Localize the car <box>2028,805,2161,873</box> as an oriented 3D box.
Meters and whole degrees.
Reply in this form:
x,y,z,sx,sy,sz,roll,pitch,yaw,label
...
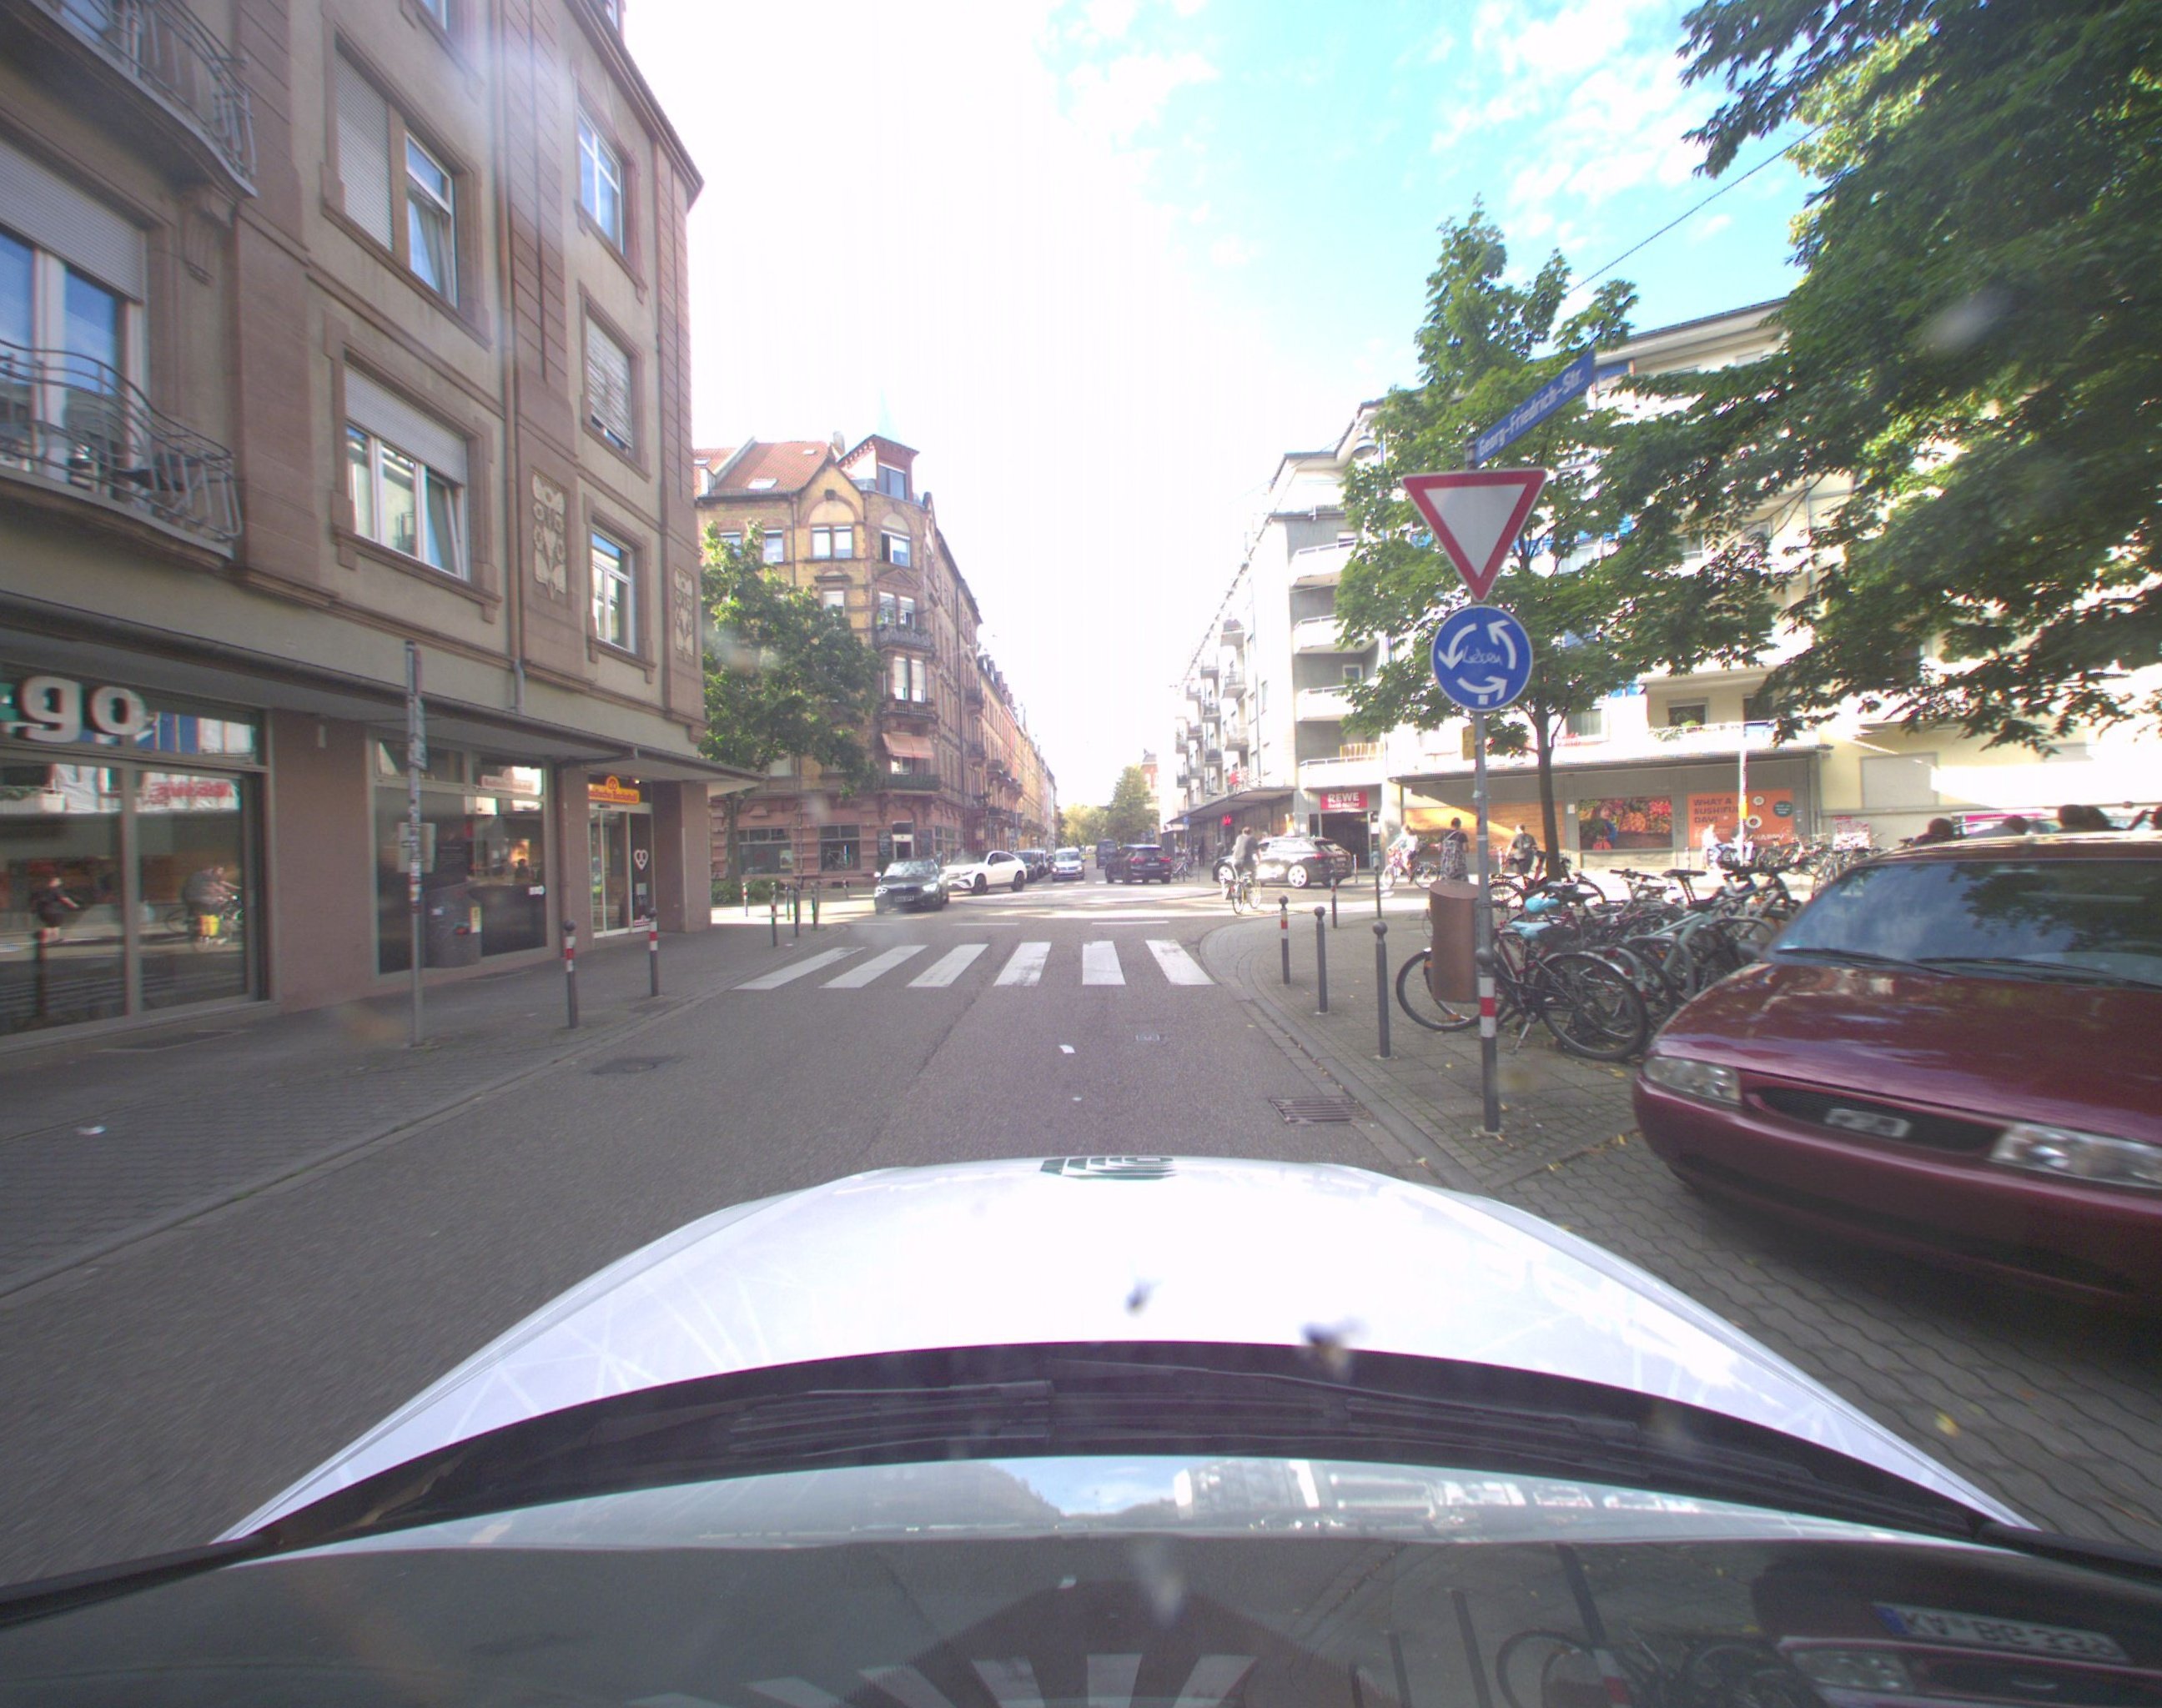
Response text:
x,y,z,sx,sy,sz,roll,pitch,yaw,label
25.325,-0.383,18.850,1.992,1.532,3.990,-2,0,-7,car

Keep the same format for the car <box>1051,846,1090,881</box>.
x,y,z,sx,sy,sz,roll,pitch,yaw,label
-0.549,0.482,46.124,1.785,1.790,4.740,-3,0,3,car

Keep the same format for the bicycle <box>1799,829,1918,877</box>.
x,y,z,sx,sy,sz,roll,pitch,yaw,label
20.032,-0.038,21.008,2.309,1.141,0.753,-2,0,1,bicycle

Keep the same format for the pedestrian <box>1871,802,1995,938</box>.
x,y,z,sx,sy,sz,roll,pitch,yaw,label
9.213,0.166,8.825,0.755,1.392,0.548,-2,0,-4,pedestrian

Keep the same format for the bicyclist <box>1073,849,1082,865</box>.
x,y,z,sx,sy,sz,roll,pitch,yaw,label
-0.447,0.428,104.004,1.130,1.998,1.027,0,-1,-4,bicyclist

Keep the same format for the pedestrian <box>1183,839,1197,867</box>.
x,y,z,sx,sy,sz,roll,pitch,yaw,label
7.490,-0.051,56.019,0.725,1.864,1.067,-2,0,16,pedestrian

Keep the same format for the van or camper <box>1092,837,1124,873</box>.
x,y,z,sx,sy,sz,roll,pitch,yaw,label
2.357,0.083,72.873,2.524,3.037,4.456,-2,0,-1,van or camper

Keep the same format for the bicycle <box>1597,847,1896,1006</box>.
x,y,z,sx,sy,sz,roll,pitch,yaw,label
5.180,0.532,6.496,0.355,1.074,1.781,-5,0,-28,bicycle

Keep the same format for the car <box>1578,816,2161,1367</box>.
x,y,z,sx,sy,sz,roll,pitch,yaw,label
4.311,0.580,3.647,3.953,1.457,1.754,-2,0,-28,car

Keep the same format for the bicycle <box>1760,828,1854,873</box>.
x,y,z,sx,sy,sz,roll,pitch,yaw,label
20.087,-0.091,22.542,2.131,1.141,0.486,-3,0,0,bicycle

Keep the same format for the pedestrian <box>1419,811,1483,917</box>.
x,y,z,sx,sy,sz,roll,pitch,yaw,label
6.426,0.165,14.147,0.774,1.779,0.798,-3,0,39,pedestrian

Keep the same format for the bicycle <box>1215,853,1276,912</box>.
x,y,z,sx,sy,sz,roll,pitch,yaw,label
3.618,0.579,17.738,0.659,1.178,2.512,-1,0,26,bicycle

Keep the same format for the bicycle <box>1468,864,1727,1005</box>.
x,y,z,sx,sy,sz,roll,pitch,yaw,label
4.408,0.648,7.140,0.391,1.040,1.903,-5,0,-28,bicycle

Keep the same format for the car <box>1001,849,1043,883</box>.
x,y,z,sx,sy,sz,roll,pitch,yaw,label
-3.316,0.628,46.339,1.775,1.724,4.450,-1,2,4,car

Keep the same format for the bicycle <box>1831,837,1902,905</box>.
x,y,z,sx,sy,sz,roll,pitch,yaw,label
13.632,0.293,14.179,0.475,1.104,2.039,-2,-2,33,bicycle

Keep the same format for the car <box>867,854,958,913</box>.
x,y,z,sx,sy,sz,roll,pitch,yaw,label
-4.534,0.755,22.498,1.745,1.436,4.208,-1,-1,-2,car

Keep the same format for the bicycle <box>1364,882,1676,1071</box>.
x,y,z,sx,sy,sz,roll,pitch,yaw,label
2.920,0.746,5.655,0.551,1.040,1.840,-5,1,-28,bicycle

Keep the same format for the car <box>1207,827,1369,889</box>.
x,y,z,sx,sy,sz,roll,pitch,yaw,label
6.602,0.138,26.453,2.052,1.724,4.791,-5,2,-37,car

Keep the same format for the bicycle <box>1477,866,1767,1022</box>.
x,y,z,sx,sy,sz,roll,pitch,yaw,label
4.227,0.656,6.555,0.446,1.040,1.888,-5,0,-28,bicycle

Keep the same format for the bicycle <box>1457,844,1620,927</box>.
x,y,z,sx,sy,sz,roll,pitch,yaw,label
6.540,0.436,11.703,1.915,1.094,0.654,-2,0,5,bicycle

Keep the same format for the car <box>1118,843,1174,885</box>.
x,y,z,sx,sy,sz,roll,pitch,yaw,label
2.723,0.407,34.919,1.987,1.618,3.999,-2,0,0,car

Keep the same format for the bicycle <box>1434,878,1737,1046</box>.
x,y,z,sx,sy,sz,roll,pitch,yaw,label
3.660,0.721,6.156,0.349,1.040,2.001,-5,0,-26,bicycle

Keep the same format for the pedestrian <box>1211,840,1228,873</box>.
x,y,z,sx,sy,sz,roll,pitch,yaw,label
6.963,0.142,40.994,0.740,1.629,0.815,-2,0,12,pedestrian

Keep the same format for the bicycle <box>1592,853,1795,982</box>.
x,y,z,sx,sy,sz,roll,pitch,yaw,label
5.485,0.533,7.373,0.453,1.040,1.373,-2,0,-29,bicycle

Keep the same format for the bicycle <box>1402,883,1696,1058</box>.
x,y,z,sx,sy,sz,roll,pitch,yaw,label
3.309,0.760,5.979,0.462,1.040,1.840,-5,0,-28,bicycle

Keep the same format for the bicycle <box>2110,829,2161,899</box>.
x,y,z,sx,sy,sz,roll,pitch,yaw,label
16.932,0.152,12.508,0.422,1.081,1.859,-2,-2,19,bicycle

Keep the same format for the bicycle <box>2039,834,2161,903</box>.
x,y,z,sx,sy,sz,roll,pitch,yaw,label
16.006,0.241,12.831,0.337,1.011,1.637,-2,-2,18,bicycle

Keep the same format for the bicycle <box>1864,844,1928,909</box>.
x,y,z,sx,sy,sz,roll,pitch,yaw,label
14.065,0.368,14.100,0.337,1.053,2.054,-2,-2,33,bicycle

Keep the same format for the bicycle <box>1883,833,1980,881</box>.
x,y,z,sx,sy,sz,roll,pitch,yaw,label
20.417,0.068,19.579,1.544,1.141,0.578,0,1,17,bicycle

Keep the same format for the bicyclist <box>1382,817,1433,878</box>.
x,y,z,sx,sy,sz,roll,pitch,yaw,label
9.295,-0.182,23.158,1.003,1.668,0.949,-2,0,45,bicyclist

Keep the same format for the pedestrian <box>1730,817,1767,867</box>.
x,y,z,sx,sy,sz,roll,pitch,yaw,label
21.030,-0.375,25.671,0.740,1.550,0.736,0,1,27,pedestrian

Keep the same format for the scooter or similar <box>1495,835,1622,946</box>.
x,y,z,sx,sy,sz,roll,pitch,yaw,label
5.736,0.433,9.859,1.233,1.274,0.668,-2,0,25,scooter or similar

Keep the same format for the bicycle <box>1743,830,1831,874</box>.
x,y,z,sx,sy,sz,roll,pitch,yaw,label
20.020,-0.057,23.097,2.072,1.141,0.435,-3,0,0,bicycle

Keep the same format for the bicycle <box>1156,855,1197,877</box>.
x,y,z,sx,sy,sz,roll,pitch,yaw,label
4.783,0.600,40.830,1.992,1.045,0.532,-2,0,3,bicycle

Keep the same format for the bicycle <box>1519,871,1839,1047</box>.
x,y,z,sx,sy,sz,roll,pitch,yaw,label
4.159,0.672,5.861,0.349,1.040,1.841,-5,0,-26,bicycle

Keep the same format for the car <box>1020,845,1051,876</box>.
x,y,z,sx,sy,sz,roll,pitch,yaw,label
-3.229,0.441,58.145,1.988,2.013,3.998,-3,0,-1,car

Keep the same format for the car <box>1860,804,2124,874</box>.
x,y,z,sx,sy,sz,roll,pitch,yaw,label
22.557,-0.344,20.431,1.991,1.510,3.991,-2,0,-6,car

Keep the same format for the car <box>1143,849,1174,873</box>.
x,y,z,sx,sy,sz,roll,pitch,yaw,label
4.865,0.402,51.311,1.639,1.324,3.578,-5,0,2,car

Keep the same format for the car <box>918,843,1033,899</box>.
x,y,z,sx,sy,sz,roll,pitch,yaw,label
-3.844,0.575,30.589,1.925,1.722,4.878,-3,2,24,car

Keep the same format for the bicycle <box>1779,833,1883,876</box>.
x,y,z,sx,sy,sz,roll,pitch,yaw,label
20.138,0.006,21.892,2.049,1.032,0.753,-3,0,1,bicycle

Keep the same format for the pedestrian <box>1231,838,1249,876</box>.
x,y,z,sx,sy,sz,roll,pitch,yaw,label
7.319,0.134,37.408,0.735,1.712,0.736,-2,0,12,pedestrian

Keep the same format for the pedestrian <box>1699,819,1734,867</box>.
x,y,z,sx,sy,sz,roll,pitch,yaw,label
20.226,-0.339,25.928,0.743,1.479,0.590,-3,0,26,pedestrian

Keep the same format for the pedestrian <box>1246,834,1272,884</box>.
x,y,z,sx,sy,sz,roll,pitch,yaw,label
6.839,0.193,31.333,0.864,1.851,0.613,-2,0,6,pedestrian

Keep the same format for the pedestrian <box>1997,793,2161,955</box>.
x,y,z,sx,sy,sz,roll,pitch,yaw,label
9.309,0.173,7.559,0.795,1.406,0.702,-2,0,-3,pedestrian

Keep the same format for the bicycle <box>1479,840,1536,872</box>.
x,y,z,sx,sy,sz,roll,pitch,yaw,label
14.932,0.076,28.544,1.663,1.050,0.461,-2,0,40,bicycle

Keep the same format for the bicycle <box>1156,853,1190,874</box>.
x,y,z,sx,sy,sz,roll,pitch,yaw,label
4.888,0.480,43.299,1.798,1.027,0.673,-2,0,-37,bicycle

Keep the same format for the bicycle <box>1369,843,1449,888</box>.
x,y,z,sx,sy,sz,roll,pitch,yaw,label
9.315,0.335,23.154,1.951,1.199,0.716,-2,0,45,bicycle

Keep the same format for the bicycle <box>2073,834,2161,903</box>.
x,y,z,sx,sy,sz,roll,pitch,yaw,label
16.425,0.209,12.719,0.337,1.011,1.628,-2,0,18,bicycle

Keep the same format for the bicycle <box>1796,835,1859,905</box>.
x,y,z,sx,sy,sz,roll,pitch,yaw,label
13.216,0.288,14.465,0.424,1.156,2.010,-2,-2,32,bicycle

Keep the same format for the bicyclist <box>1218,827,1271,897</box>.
x,y,z,sx,sy,sz,roll,pitch,yaw,label
3.538,0.170,17.605,0.925,1.484,0.751,-1,0,26,bicyclist

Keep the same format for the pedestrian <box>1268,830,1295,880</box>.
x,y,z,sx,sy,sz,roll,pitch,yaw,label
7.691,0.037,31.230,0.864,1.851,0.613,-2,0,6,pedestrian

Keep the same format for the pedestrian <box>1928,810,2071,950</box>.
x,y,z,sx,sy,sz,roll,pitch,yaw,label
9.269,0.251,8.240,0.755,1.342,0.596,-2,0,-4,pedestrian

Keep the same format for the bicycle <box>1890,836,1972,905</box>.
x,y,z,sx,sy,sz,roll,pitch,yaw,label
14.373,0.259,13.818,0.475,1.090,2.099,-2,-1,33,bicycle

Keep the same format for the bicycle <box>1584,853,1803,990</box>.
x,y,z,sx,sy,sz,roll,pitch,yaw,label
5.229,0.550,7.047,0.337,1.040,1.443,-5,0,-28,bicycle

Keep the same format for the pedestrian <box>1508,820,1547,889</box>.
x,y,z,sx,sy,sz,roll,pitch,yaw,label
11.590,0.014,21.158,0.624,1.739,0.778,-2,0,13,pedestrian
